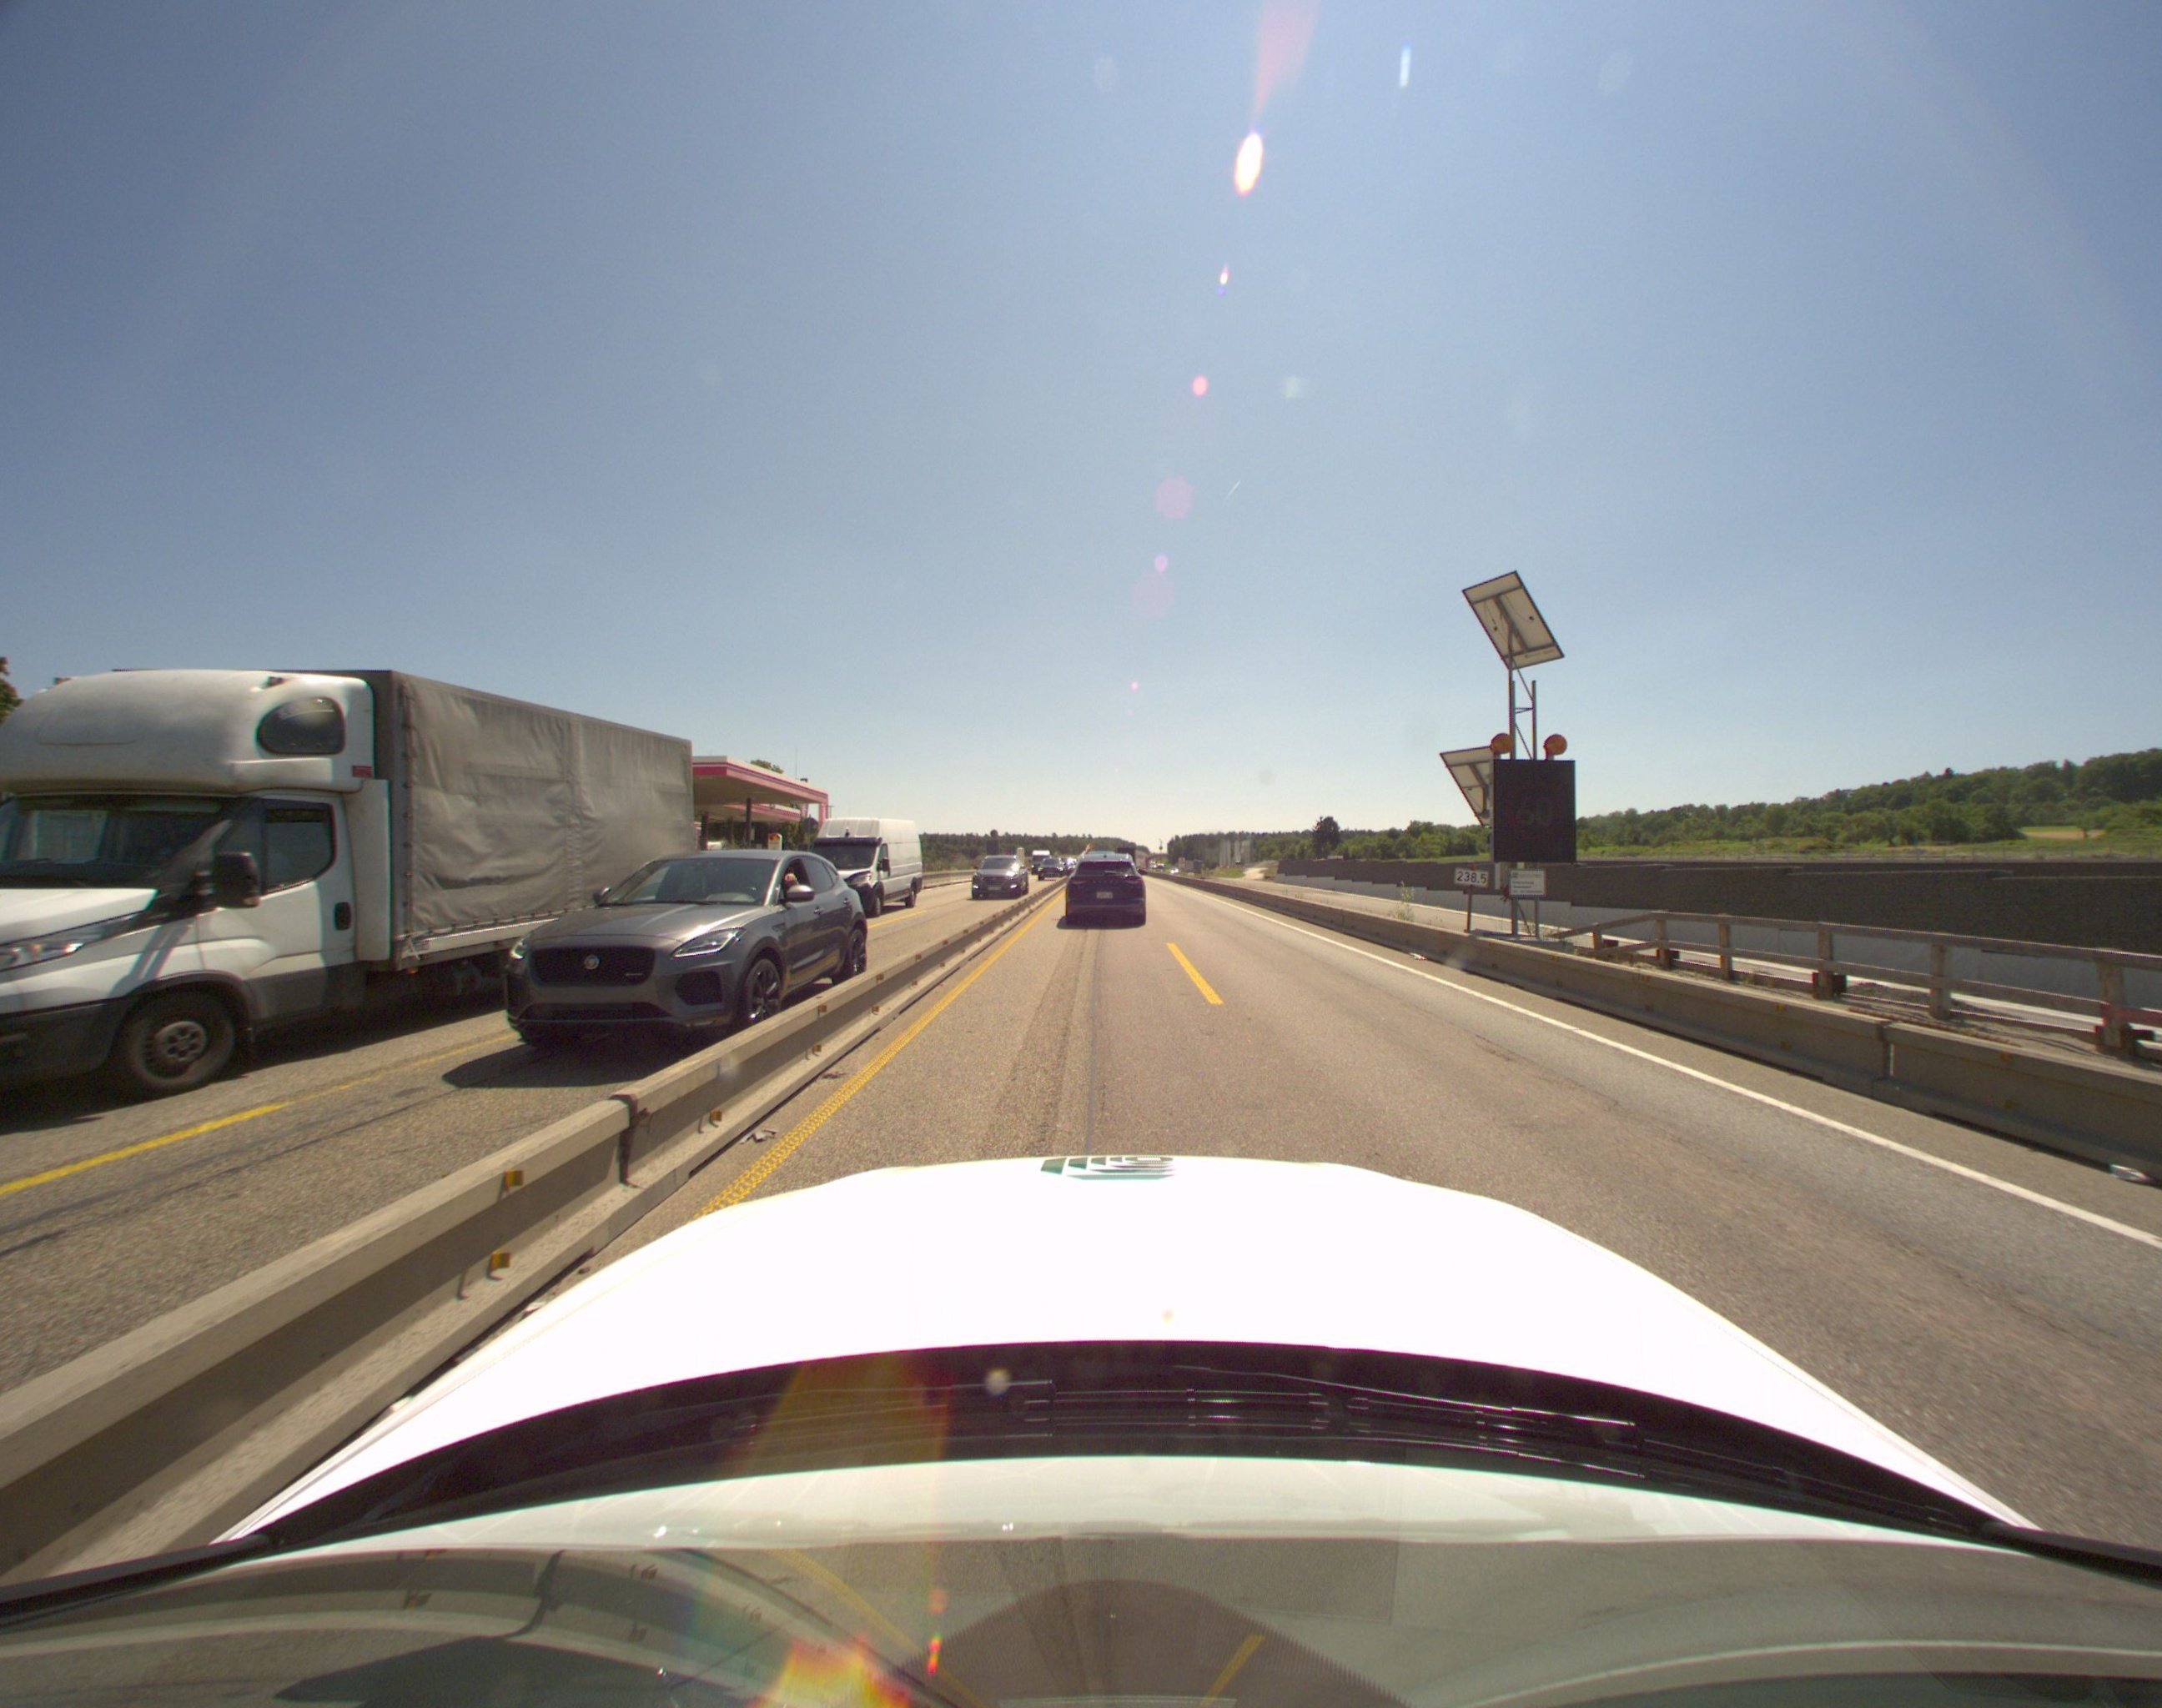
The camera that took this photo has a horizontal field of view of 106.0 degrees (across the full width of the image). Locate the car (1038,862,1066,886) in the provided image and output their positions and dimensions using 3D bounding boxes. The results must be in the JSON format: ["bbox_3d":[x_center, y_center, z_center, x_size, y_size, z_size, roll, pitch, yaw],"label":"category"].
[{"bbox_3d":[-2.104,1.428,60.054,1.849,1.603,4.736,0,0,1],"label":"car"}]

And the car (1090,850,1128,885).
[{"bbox_3d":[1.550,0.767,46.707,1.987,1.844,3.999,2,-1,0],"label":"car"}]

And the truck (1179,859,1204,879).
[{"bbox_3d":[26.628,3.651,196.199,3.448,4.220,10.425,5,0,20],"label":"truck"}]

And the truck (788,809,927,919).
[{"bbox_3d":[-6.288,0.263,23.911,2.232,2.786,6.492,0,0,0],"label":"truck"}]

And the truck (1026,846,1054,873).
[{"bbox_3d":[-4.549,0.621,91.491,2.470,2.824,8.131,0,-1,2],"label":"truck"}]

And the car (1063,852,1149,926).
[{"bbox_3d":[0.611,0.748,19.435,1.835,1.582,4.002,0,0,2],"label":"car"}]

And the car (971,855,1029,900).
[{"bbox_3d":[-3.087,0.862,31.775,1.933,1.611,3.997,0,0,-2],"label":"car"}]

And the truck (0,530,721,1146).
[{"bbox_3d":[-6.865,-0.064,8.415,2.486,3.292,8.119,-1,0,1],"label":"truck"}]

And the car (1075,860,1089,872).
[{"bbox_3d":[0.149,1.685,113.403,1.897,1.608,4.002,0,0,2],"label":"car"}]

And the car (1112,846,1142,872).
[{"bbox_3d":[8.182,0.926,143.562,3.413,4.101,9.228,4,-1,13],"label":"car"}]

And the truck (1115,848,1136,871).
[{"bbox_3d":[5.633,0.685,103.480,2.662,2.945,5.623,0,0,2],"label":"truck"}]

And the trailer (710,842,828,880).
[{"bbox_3d":[-35.855,0.884,94.578,3.120,4.111,14.249,-1,-1,28],"label":"trailer"}]

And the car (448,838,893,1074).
[{"bbox_3d":[-3.477,0.731,8.177,1.935,1.658,4.747,-1,0,2],"label":"car"}]

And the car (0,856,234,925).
[{"bbox_3d":[-24.489,0.847,20.671,1.639,1.355,4.001,4,1,1],"label":"car"}]
